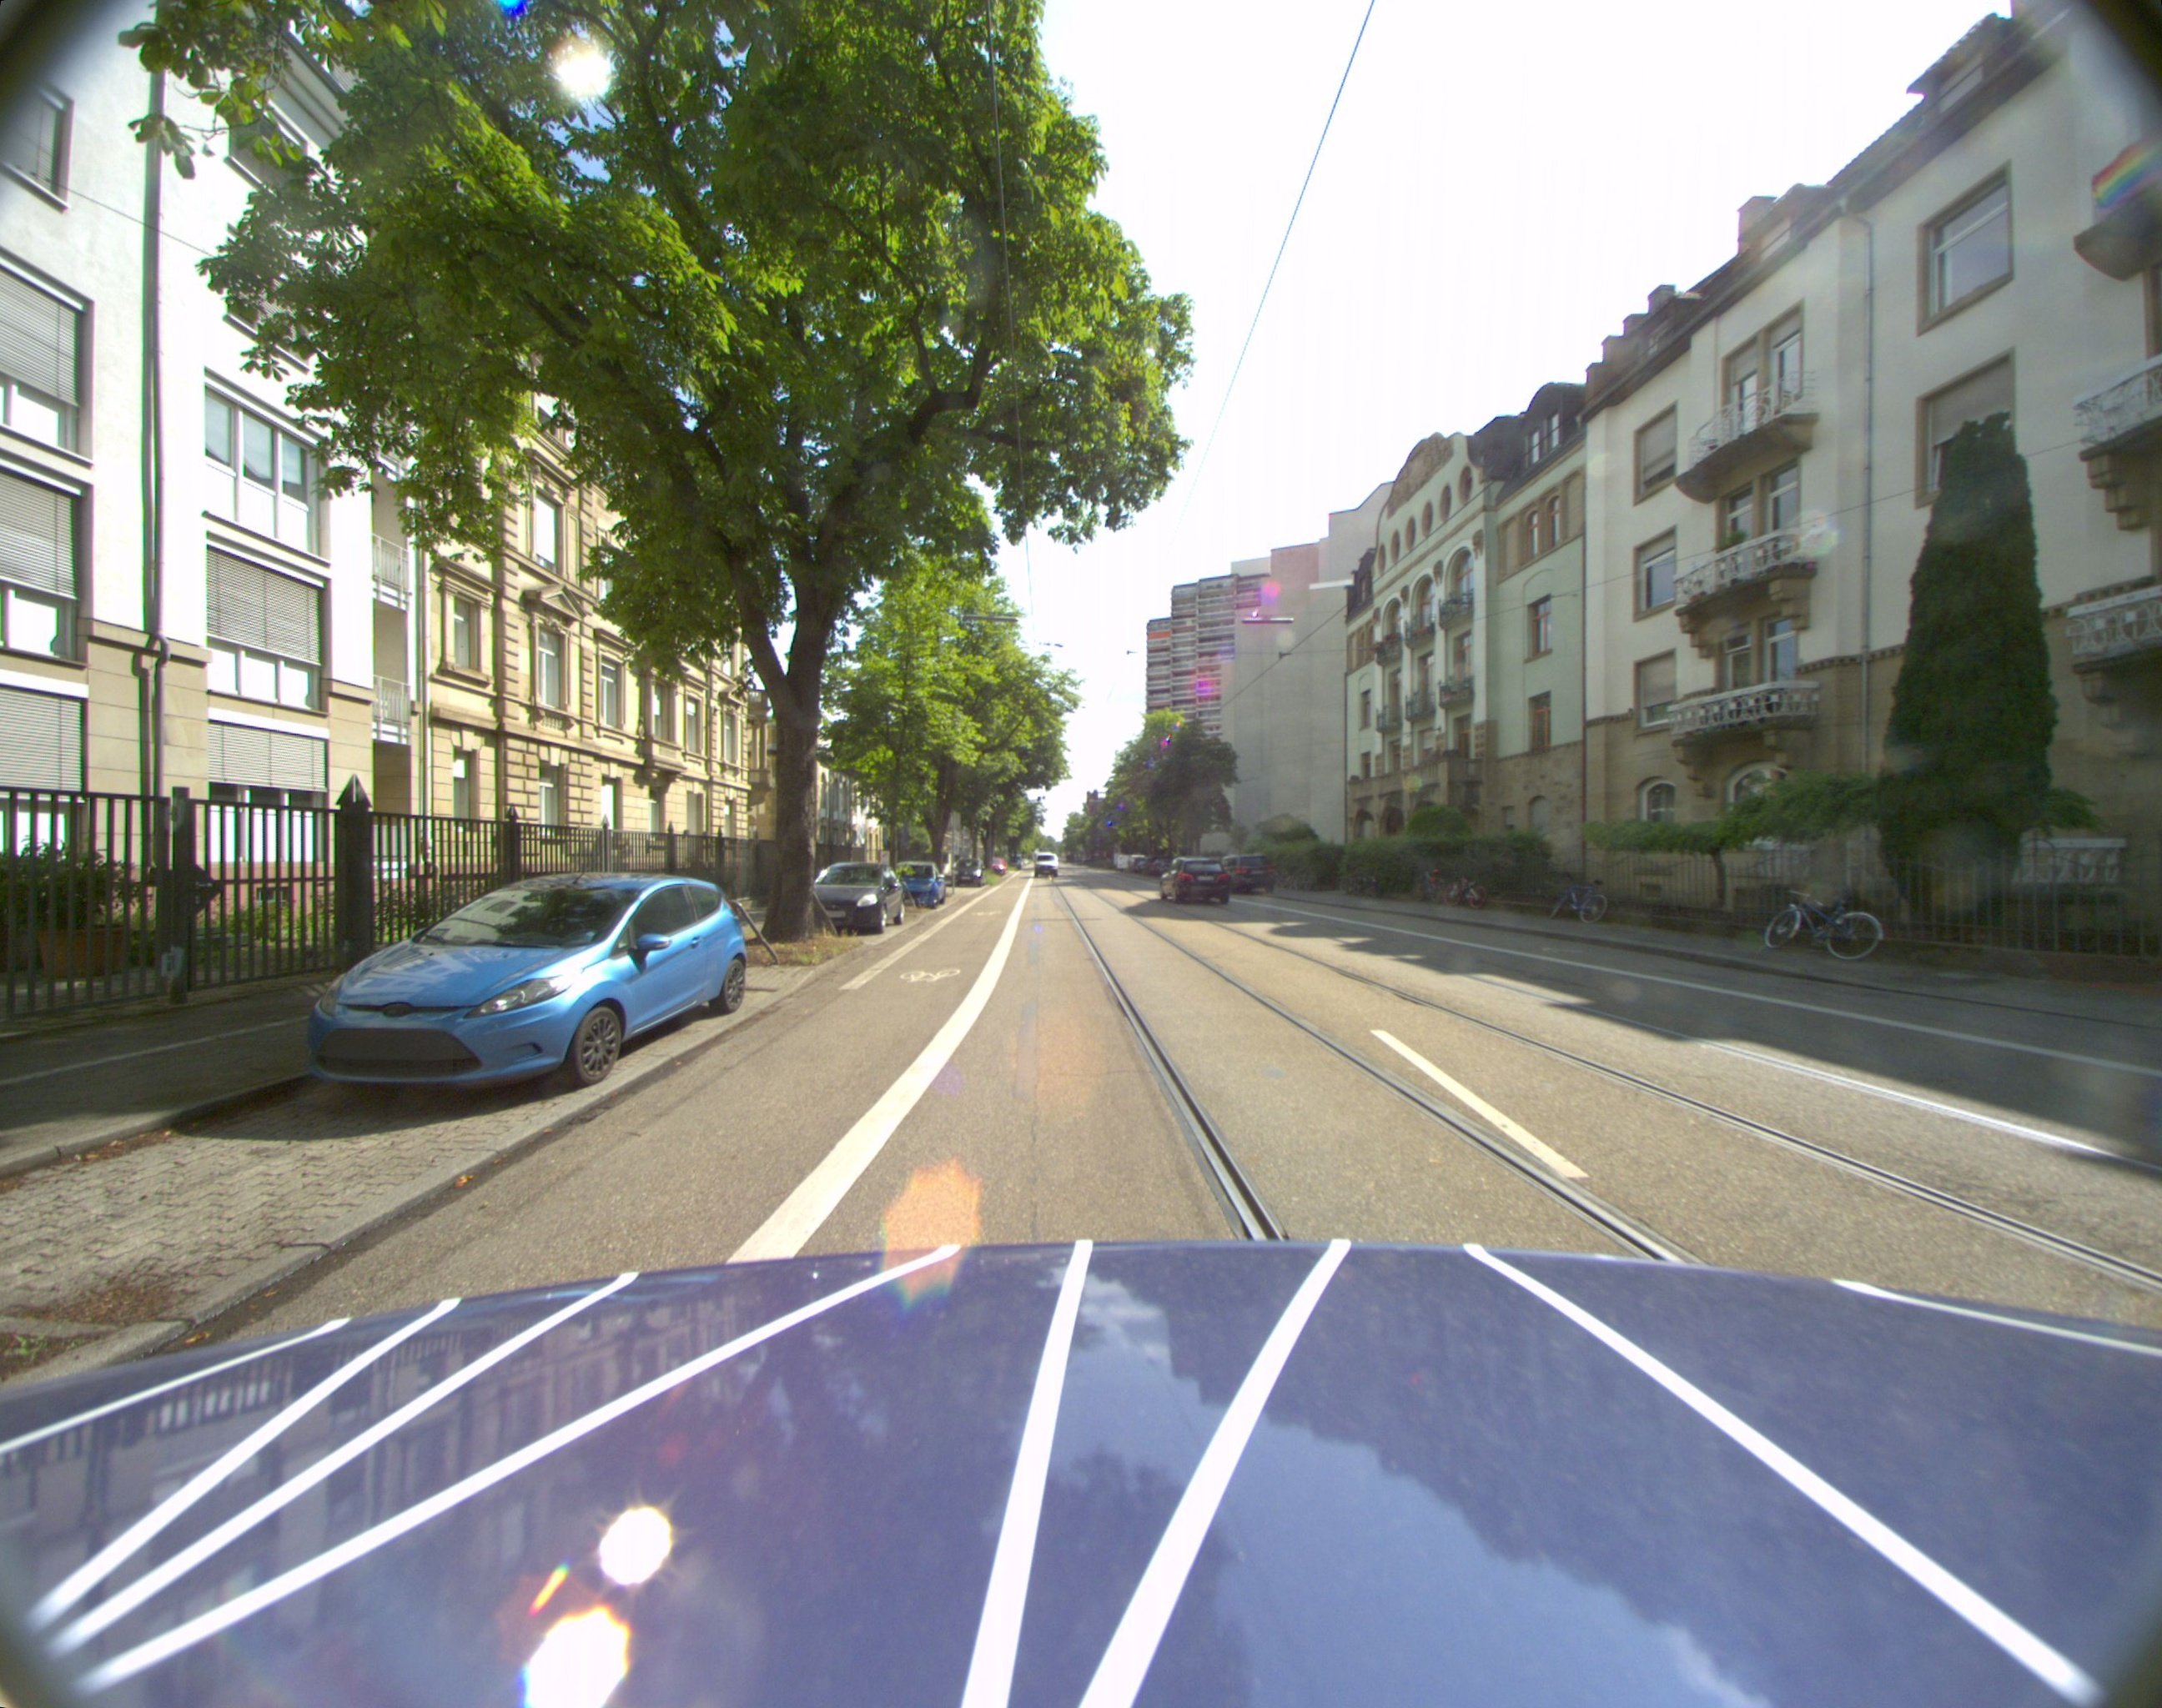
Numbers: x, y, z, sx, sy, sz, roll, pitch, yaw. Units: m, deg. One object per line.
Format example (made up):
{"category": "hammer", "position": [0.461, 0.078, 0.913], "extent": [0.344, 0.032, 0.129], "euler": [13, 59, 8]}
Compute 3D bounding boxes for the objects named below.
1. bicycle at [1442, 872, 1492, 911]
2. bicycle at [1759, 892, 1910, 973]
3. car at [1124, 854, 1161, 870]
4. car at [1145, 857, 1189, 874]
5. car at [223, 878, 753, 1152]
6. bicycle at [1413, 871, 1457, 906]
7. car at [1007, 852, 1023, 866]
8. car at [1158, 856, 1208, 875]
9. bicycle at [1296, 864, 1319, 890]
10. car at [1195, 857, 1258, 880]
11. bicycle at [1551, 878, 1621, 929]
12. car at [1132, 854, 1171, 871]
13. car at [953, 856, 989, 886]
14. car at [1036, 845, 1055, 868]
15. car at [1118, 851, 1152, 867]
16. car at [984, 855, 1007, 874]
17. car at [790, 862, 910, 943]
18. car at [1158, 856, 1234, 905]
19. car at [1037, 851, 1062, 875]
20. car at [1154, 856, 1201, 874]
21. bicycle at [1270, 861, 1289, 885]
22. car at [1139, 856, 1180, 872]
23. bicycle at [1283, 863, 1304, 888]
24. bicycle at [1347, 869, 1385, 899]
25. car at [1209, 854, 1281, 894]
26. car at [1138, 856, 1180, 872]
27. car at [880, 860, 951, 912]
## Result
{"category": "bicycle", "position": [10.655, 1.028, 21.024], "extent": [0.468, 0.990, 1.787], "euler": [0, 0, -1]}
{"category": "bicycle", "position": [11.098, 1.114, 11.295], "extent": [0.467, 0.990, 1.979], "euler": [0, 0, 7]}
{"category": "car", "position": [6.789, 0.874, 83.591], "extent": [3.994, 1.672, 2.001], "euler": [0, 0, 8]}
{"category": "car", "position": [7.874, 1.003, 69.322], "extent": [3.994, 1.499, 2.001], "euler": [0, 0, 8]}
{"category": "car", "position": [-4.317, 1.031, 6.368], "extent": [1.647, 1.467, 3.660], "euler": [3, 0, -3]}
{"category": "bicycle", "position": [10.691, 1.021, 23.005], "extent": [0.468, 0.990, 1.787], "euler": [0, 0, -1]}
{"category": "car", "position": [-7.882, 0.537, 91.086], "extent": [1.744, 1.564, 3.928], "euler": [3, 0, -4]}
{"category": "car", "position": [8.473, 0.953, 63.048], "extent": [3.994, 1.499, 2.001], "euler": [0, 0, 8]}
{"category": "bicycle", "position": [10.145, 1.007, 34.119], "extent": [0.468, 1.128, 1.787], "euler": [0, 0, -1]}
{"category": "car", "position": [9.522, 0.927, 49.944], "extent": [3.994, 1.499, 2.001], "euler": [0, 0, 8]}
{"category": "bicycle", "position": [10.948, 1.040, 16.539], "extent": [0.467, 0.990, 1.787], "euler": [0, 0, 5]}
{"category": "car", "position": [7.374, 0.893, 79.166], "extent": [3.994, 1.672, 2.001], "euler": [0, 0, 8]}
{"category": "car", "position": [-6.246, 0.957, 43.456], "extent": [1.744, 1.564, 3.659], "euler": [3, 0, -4]}
{"category": "car", "position": [-4.060, 0.272, 88.044], "extent": [2.146, 2.568, 4.817], "euler": [0, 0, -2]}
{"category": "car", "position": [6.366, 0.534, 89.425], "extent": [1.994, 1.740, 4.008], "euler": [-1, 1, 41]}
{"category": "car", "position": [-7.453, 0.882, 66.411], "extent": [1.744, 1.564, 3.928], "euler": [3, 0, -4]}
{"category": "car", "position": [-4.919, 0.969, 16.666], "extent": [1.679, 1.467, 3.659], "euler": [3, 0, -4]}
{"category": "car", "position": [3.834, 0.831, 25.991], "extent": [1.761, 1.509, 4.067], "euler": [0, 0, -4]}
{"category": "car", "position": [-2.594, 0.728, 62.996], "extent": [1.974, 1.901, 4.817], "euler": [0, 0, -2]}
{"category": "car", "position": [8.374, 0.966, 66.204], "extent": [3.994, 1.499, 2.001], "euler": [0, 0, 8]}
{"category": "bicycle", "position": [9.960, 0.942, 38.158], "extent": [0.468, 1.128, 1.787], "euler": [0, 0, -1]}
{"category": "car", "position": [7.793, 0.974, 75.692], "extent": [3.994, 1.499, 2.001], "euler": [0, 0, 8]}
{"category": "bicycle", "position": [10.061, 0.986, 36.061], "extent": [0.468, 1.128, 1.787], "euler": [0, 0, -1]}
{"category": "bicycle", "position": [10.101, 1.055, 27.009], "extent": [0.605, 0.990, 1.981], "euler": [0, 0, -1]}
{"category": "car", "position": [7.242, 0.841, 33.978], "extent": [1.922, 1.685, 4.400], "euler": [0, 0, -5]}
{"category": "car", "position": [7.467, 0.977, 72.532], "extent": [3.994, 1.499, 2.001], "euler": [0, 0, 8]}
{"category": "car", "position": [-5.333, 0.987, 24.880], "extent": [1.679, 1.467, 3.659], "euler": [3, 0, -4]}
